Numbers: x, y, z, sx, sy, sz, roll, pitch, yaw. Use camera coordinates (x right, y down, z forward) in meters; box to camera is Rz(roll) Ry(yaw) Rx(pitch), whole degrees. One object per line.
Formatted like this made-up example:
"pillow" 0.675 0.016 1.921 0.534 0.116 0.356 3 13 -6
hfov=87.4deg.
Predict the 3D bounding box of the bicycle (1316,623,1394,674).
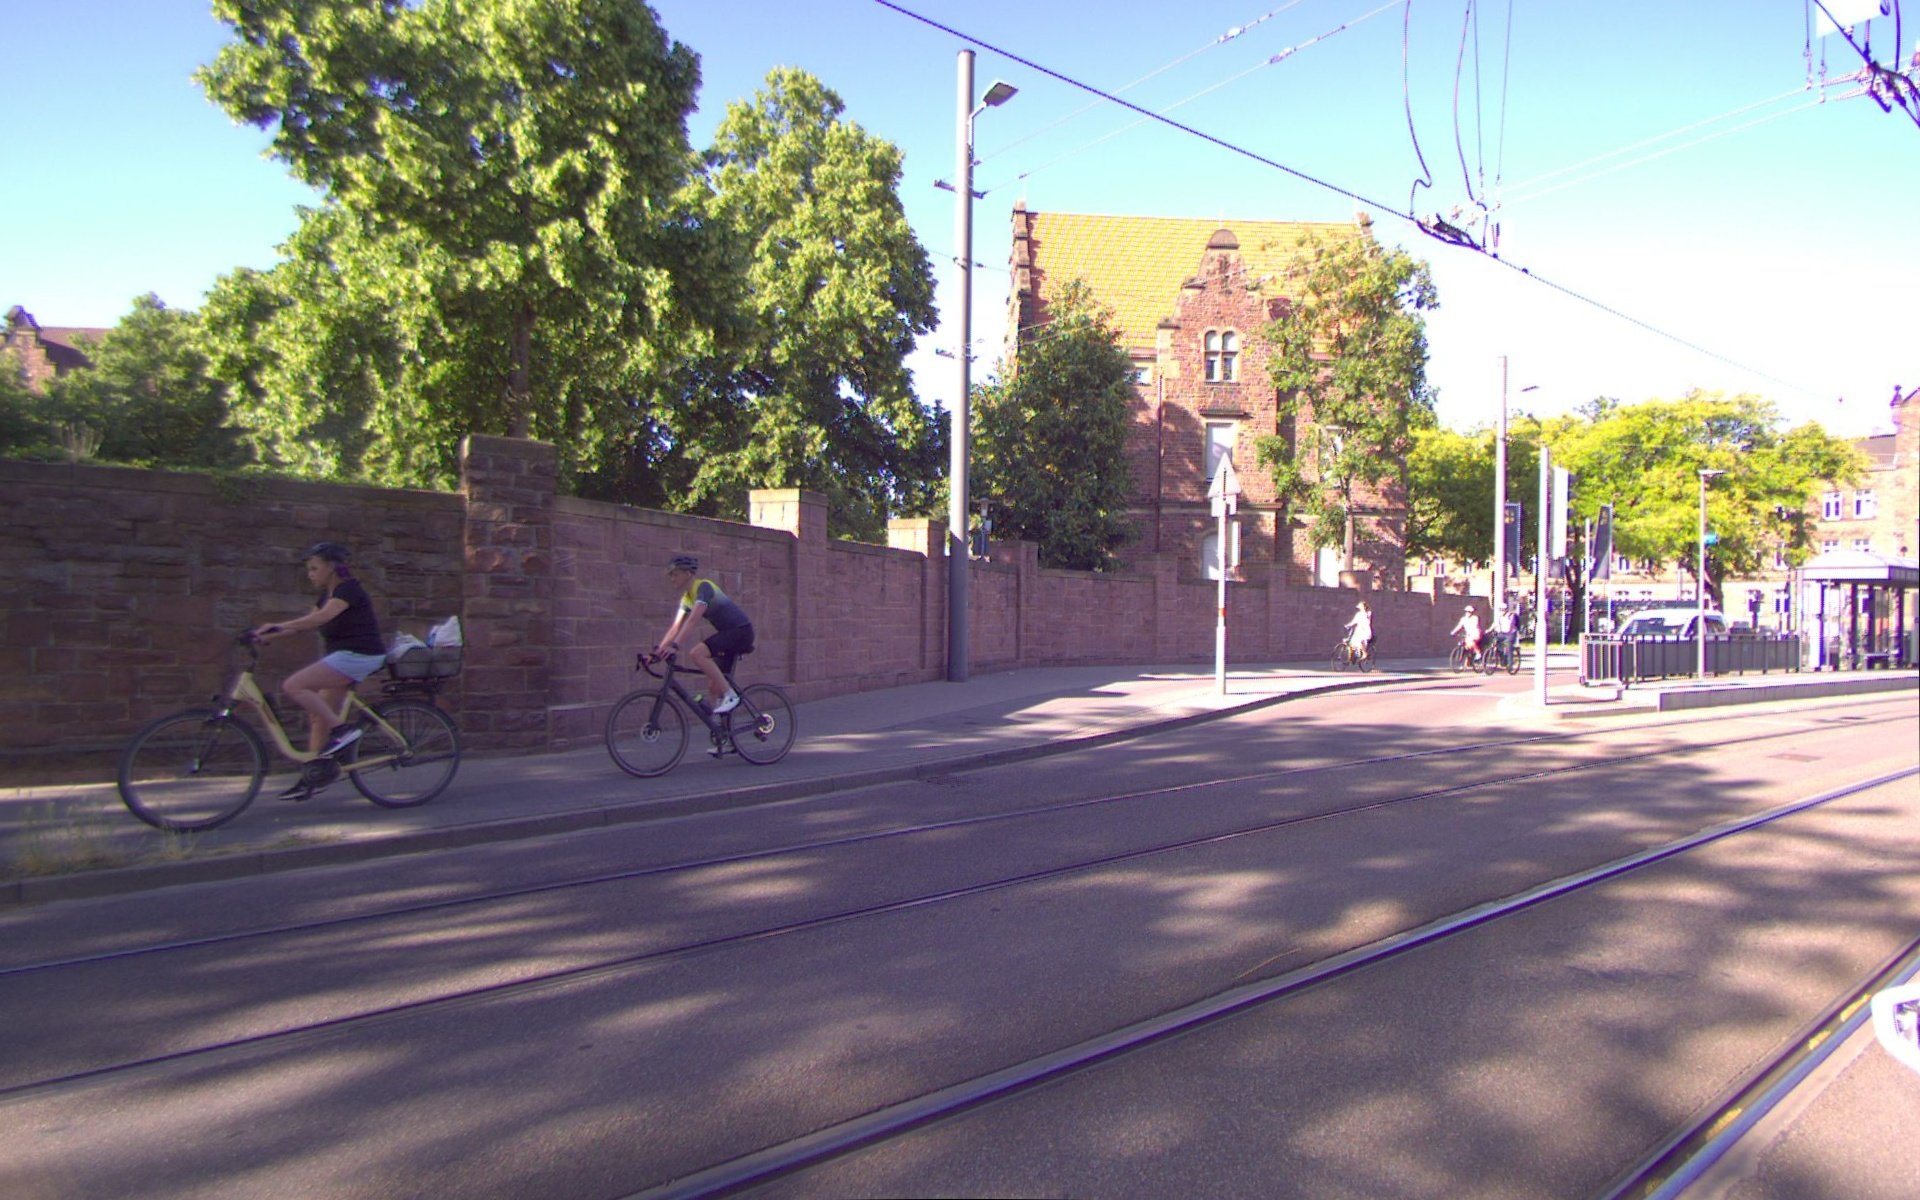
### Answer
"bicycle" 9.835 1.197 25.018 1.931 1.214 0.810 2 0 -32

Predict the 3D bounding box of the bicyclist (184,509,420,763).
"bicyclist" -4.219 0.218 6.471 0.646 1.478 1.145 1 0 44

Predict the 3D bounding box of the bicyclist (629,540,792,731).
"bicyclist" -2.079 0.286 8.424 1.143 1.478 0.647 1 0 -41

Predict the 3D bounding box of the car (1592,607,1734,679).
"car" 19.043 1.127 27.171 4.212 1.812 1.815 1 -1 -35

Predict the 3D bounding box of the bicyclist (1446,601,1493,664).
"bicyclist" 14.209 0.884 28.000 1.220 1.697 0.646 0 2 -34

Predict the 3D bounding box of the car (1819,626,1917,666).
"car" 35.038 1.738 38.737 4.448 1.401 1.787 1 -1 -34

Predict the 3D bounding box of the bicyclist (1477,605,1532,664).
"bicyclist" 14.718 0.922 27.140 1.334 1.557 0.756 1 0 -34

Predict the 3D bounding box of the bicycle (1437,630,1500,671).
"bicycle" 14.189 1.385 28.007 1.994 1.087 0.665 1 1 -35

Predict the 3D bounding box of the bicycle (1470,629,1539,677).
"bicycle" 14.712 1.413 27.135 2.067 1.247 0.772 1 0 -34

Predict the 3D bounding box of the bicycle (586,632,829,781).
"bicycle" -2.077 0.862 8.442 1.842 1.103 0.678 4 -3 -42

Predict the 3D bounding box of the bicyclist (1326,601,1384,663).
"bicyclist" 9.842 0.801 25.011 1.177 1.490 0.752 2 0 -32

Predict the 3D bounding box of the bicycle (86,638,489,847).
"bicycle" -4.225 0.814 6.468 0.677 1.103 2.052 1 -1 43
